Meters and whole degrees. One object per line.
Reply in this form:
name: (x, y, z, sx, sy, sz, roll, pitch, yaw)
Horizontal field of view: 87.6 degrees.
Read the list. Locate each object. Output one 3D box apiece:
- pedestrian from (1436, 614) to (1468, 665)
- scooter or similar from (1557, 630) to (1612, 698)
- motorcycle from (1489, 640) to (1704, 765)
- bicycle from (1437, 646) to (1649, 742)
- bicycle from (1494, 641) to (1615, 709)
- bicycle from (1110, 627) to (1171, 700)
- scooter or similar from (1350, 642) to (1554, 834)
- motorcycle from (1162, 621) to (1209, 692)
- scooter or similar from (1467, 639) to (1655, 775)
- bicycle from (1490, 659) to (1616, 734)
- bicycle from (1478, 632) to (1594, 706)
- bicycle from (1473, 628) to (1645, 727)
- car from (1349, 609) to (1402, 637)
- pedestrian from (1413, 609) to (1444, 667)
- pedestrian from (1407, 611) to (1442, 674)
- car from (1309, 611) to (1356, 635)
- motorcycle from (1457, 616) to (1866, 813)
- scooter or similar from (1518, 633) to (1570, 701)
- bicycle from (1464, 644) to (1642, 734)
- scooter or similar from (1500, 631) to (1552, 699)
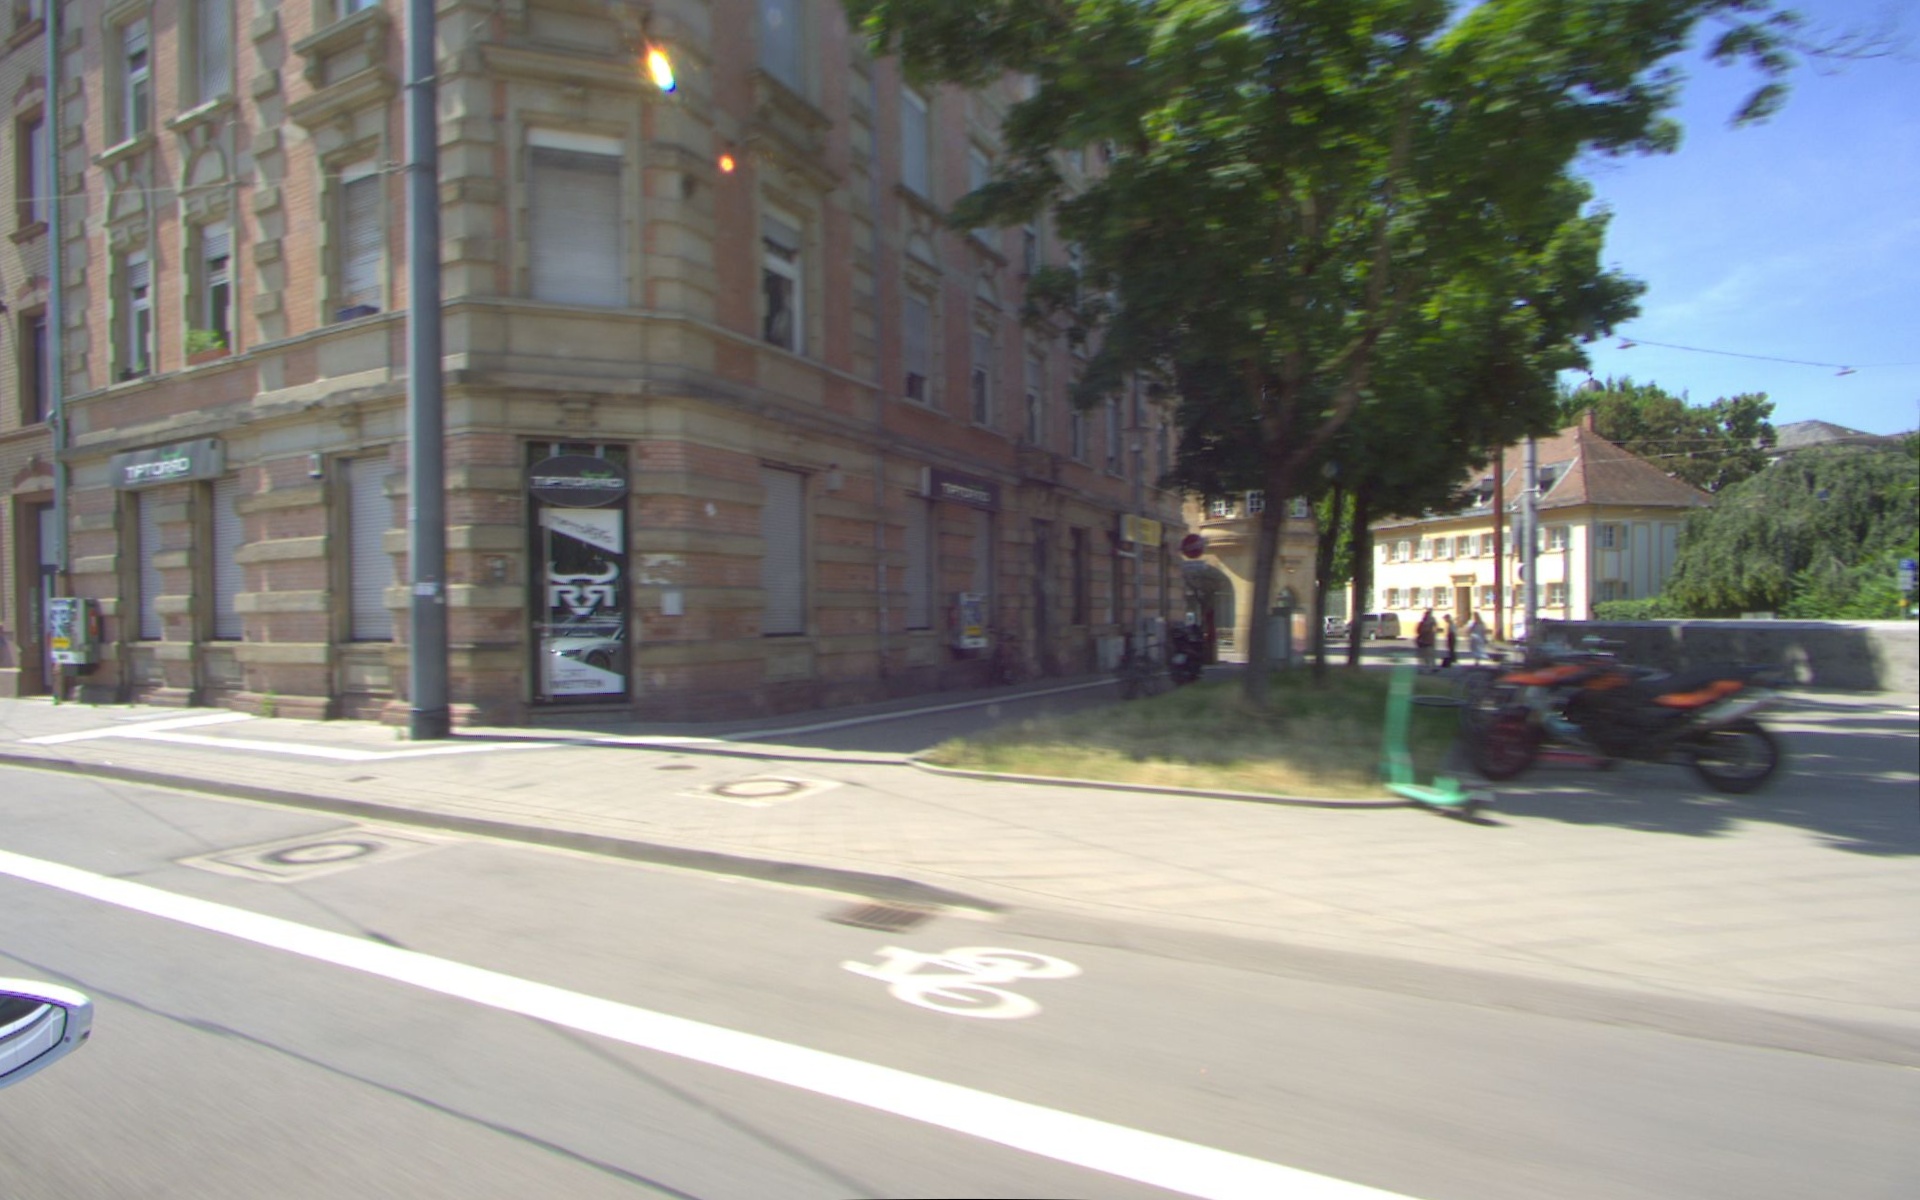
pedestrian: (14.233, 1.146, 28.994, 0.574, 1.462, 0.614, 0, 0, -11)
scooter or similar: (10.944, 1.103, 17.564, 0.263, 1.140, 0.987, 0, 0, -5)
motorcycle: (6.187, 0.963, 9.847, 1.721, 1.111, 0.690, -1, 0, 29)
bicycle: (6.644, 1.039, 11.516, 2.050, 0.978, 0.644, 0, 0, 30)
bicycle: (9.242, 1.149, 15.615, 1.540, 1.005, 0.503, 0, 0, 14)
bicycle: (3.245, 1.098, 17.859, 0.702, 1.193, 1.877, 0, 0, 22)
scooter or similar: (3.414, 0.906, 7.104, 0.701, 1.170, 1.525, 0, 0, 0)
motorcycle: (4.406, 1.068, 19.471, 0.495, 1.307, 1.639, 0, 0, 28)
scooter or similar: (5.455, 0.953, 9.172, 1.355, 1.167, 0.601, -1, 0, 19)
bicycle: (7.907, 1.270, 13.407, 1.405, 0.917, 0.455, 0, 0, 25)
bicycle: (8.447, 0.991, 14.727, 0.452, 1.005, 1.415, 0, 0, -44)
bicycle: (7.574, 0.954, 12.751, 1.808, 1.161, 0.645, 0, 0, 25)
car: (27.605, 1.502, 66.672, 1.611, 1.806, 3.478, 0, -1, -12)
pedestrian: (13.890, 1.114, 29.681, 0.603, 1.721, 0.585, 0, 0, -11)
pedestrian: (12.201, 1.106, 26.318, 0.603, 1.617, 0.601, 0, 0, -11)
car: (26.863, 1.638, 72.280, 1.611, 1.689, 3.478, 0, -1, -12)
motorcycle: (5.409, 0.829, 7.980, 2.557, 1.380, 0.763, -1, 0, 30)
scooter or similar: (10.197, 1.155, 17.516, 0.263, 1.140, 0.987, 0, 0, -5)
bicycle: (7.117, 1.040, 12.087, 1.812, 0.978, 0.644, 0, 0, 32)
scooter or similar: (9.870, 1.114, 17.488, 0.263, 1.140, 0.987, 0, 0, -5)
